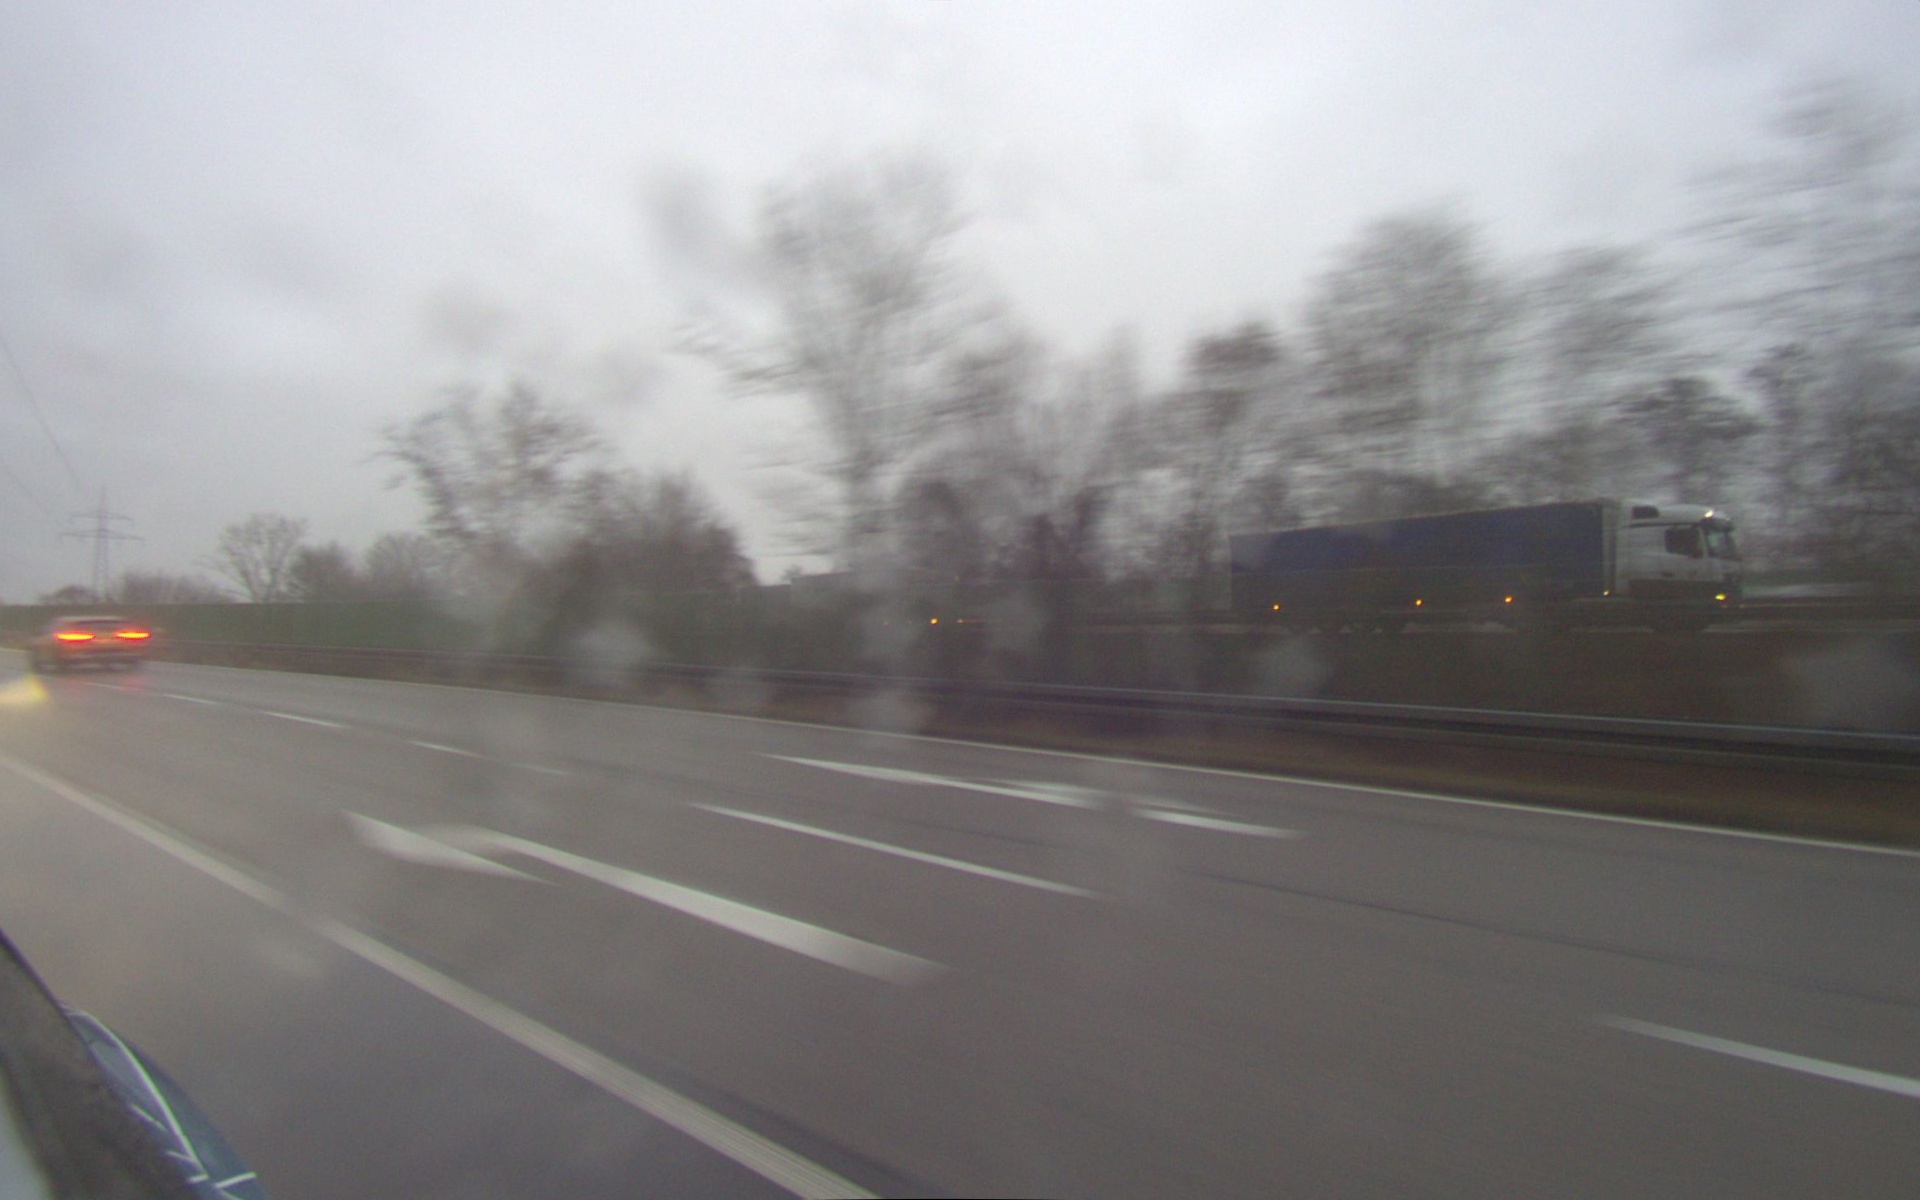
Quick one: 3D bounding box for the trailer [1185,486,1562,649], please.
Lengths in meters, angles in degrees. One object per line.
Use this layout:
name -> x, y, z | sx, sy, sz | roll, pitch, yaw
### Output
trailer -> 14.779, -0.998, 38.071 | 3.259, 5.142, 13.257 | 2, -1, -38

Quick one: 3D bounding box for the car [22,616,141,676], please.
car -> -24.253, 1.220, 27.895 | 4.519, 1.512, 1.844 | -1, -1, 41

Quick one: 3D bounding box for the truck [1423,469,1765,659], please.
truck -> 19.585, -0.961, 31.893 | 3.233, 5.169, 8.535 | 2, -1, -39

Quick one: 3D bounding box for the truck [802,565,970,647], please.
truck -> -5.023, 0.340, 64.060 | 3.233, 4.645, 13.901 | 2, -1, -39
